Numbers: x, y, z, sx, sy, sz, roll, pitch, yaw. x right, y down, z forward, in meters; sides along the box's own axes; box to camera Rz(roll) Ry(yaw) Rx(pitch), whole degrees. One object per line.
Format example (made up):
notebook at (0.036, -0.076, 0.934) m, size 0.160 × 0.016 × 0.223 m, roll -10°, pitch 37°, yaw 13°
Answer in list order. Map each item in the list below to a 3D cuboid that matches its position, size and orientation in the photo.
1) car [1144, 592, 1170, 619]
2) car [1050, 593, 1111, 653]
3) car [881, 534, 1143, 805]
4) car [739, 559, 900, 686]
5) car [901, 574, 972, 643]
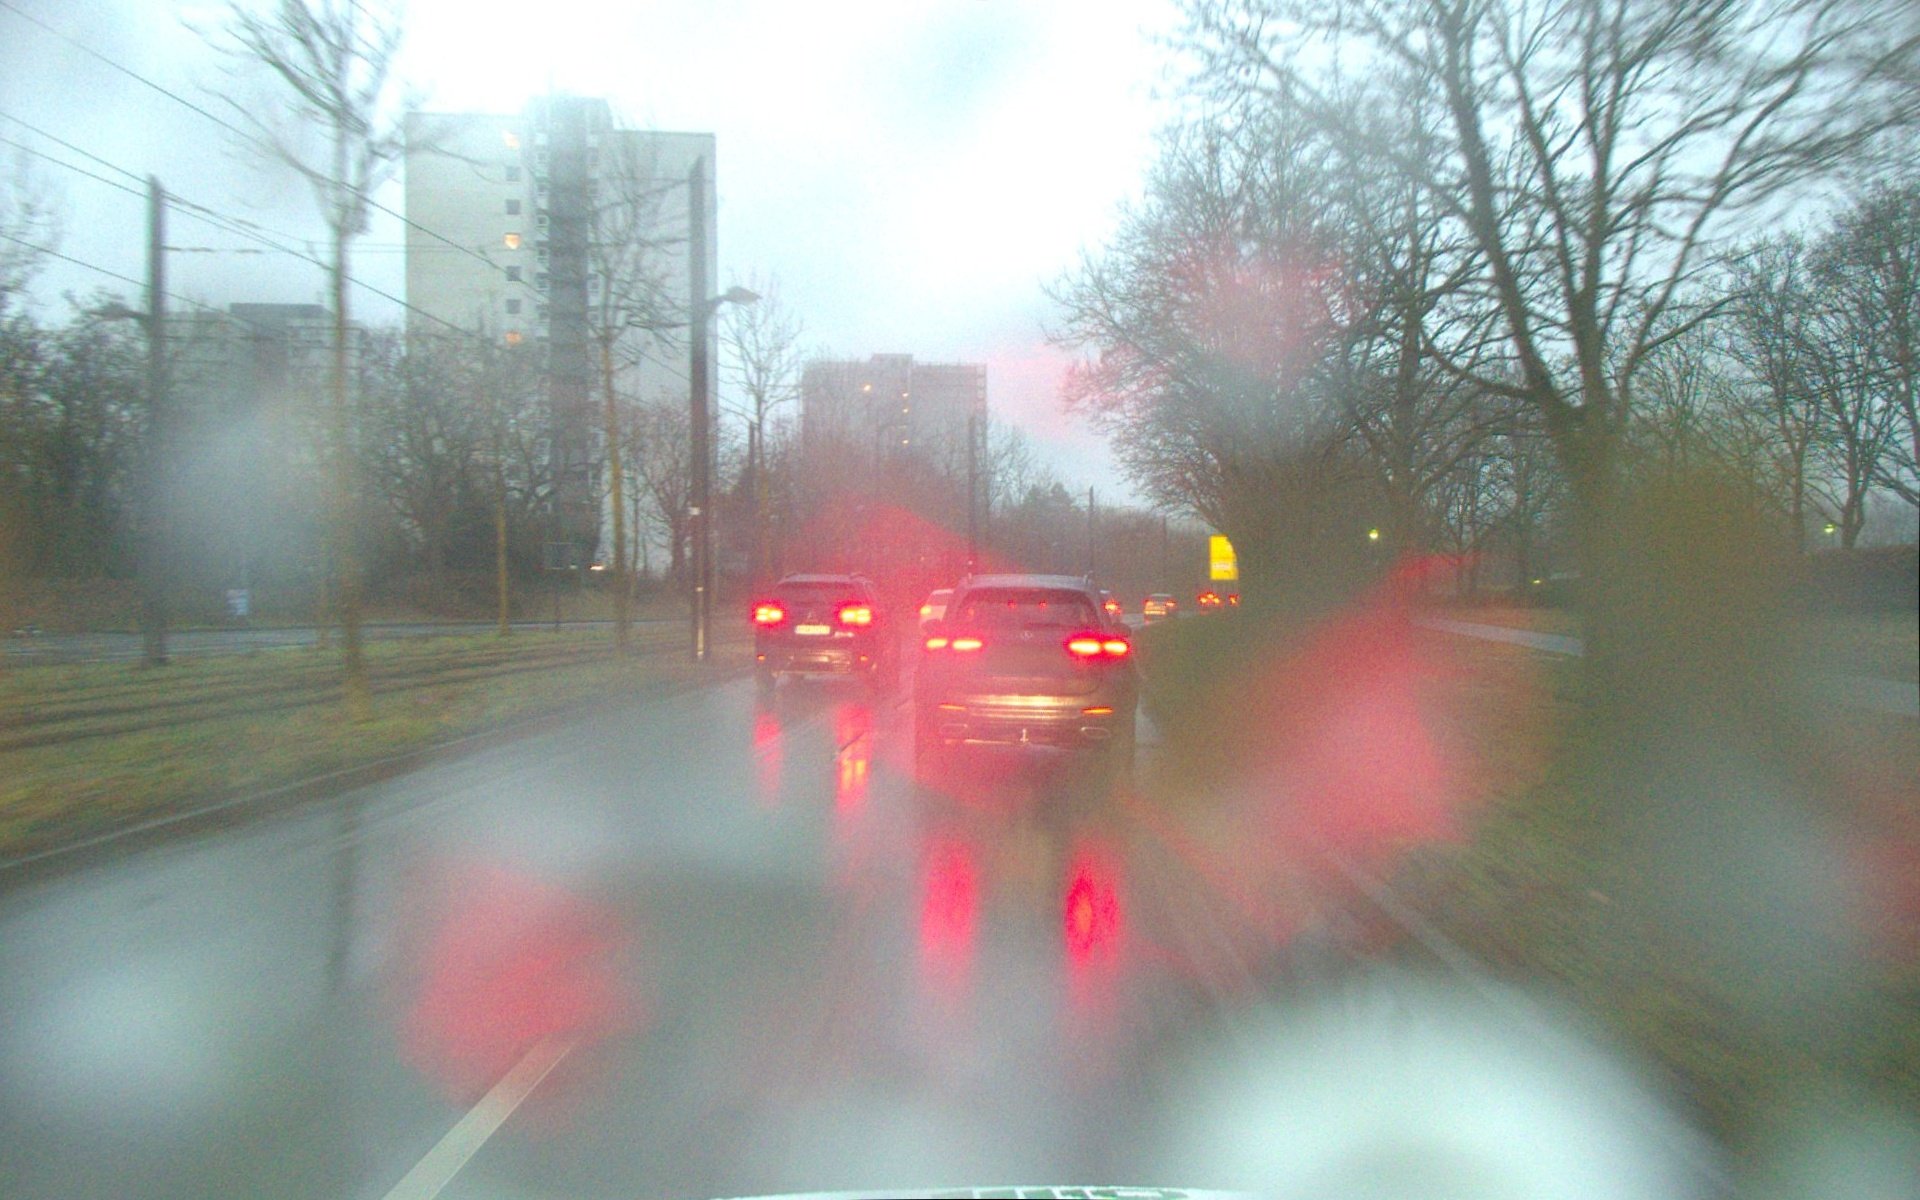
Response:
car at (11.710, 0.333, 98.338) m, size 1.502 × 1.540 × 3.345 m, roll 1°, pitch -1°, yaw 6°
car at (4.017, 0.787, 55.675) m, size 1.818 × 1.925 × 4.000 m, roll 1°, pitch -1°, yaw 1°
car at (0.434, 0.563, 14.527) m, size 1.952 × 2.010 × 4.068 m, roll 1°, pitch -1°, yaw 1°
car at (-2.036, 0.356, 25.241) m, size 1.952 × 1.742 × 4.325 m, roll 1°, pitch -1°, yaw 1°
car at (-0.602, 0.211, 45.178) m, size 1.790 × 1.769 × 3.806 m, roll 1°, pitch 0°, yaw 1°
